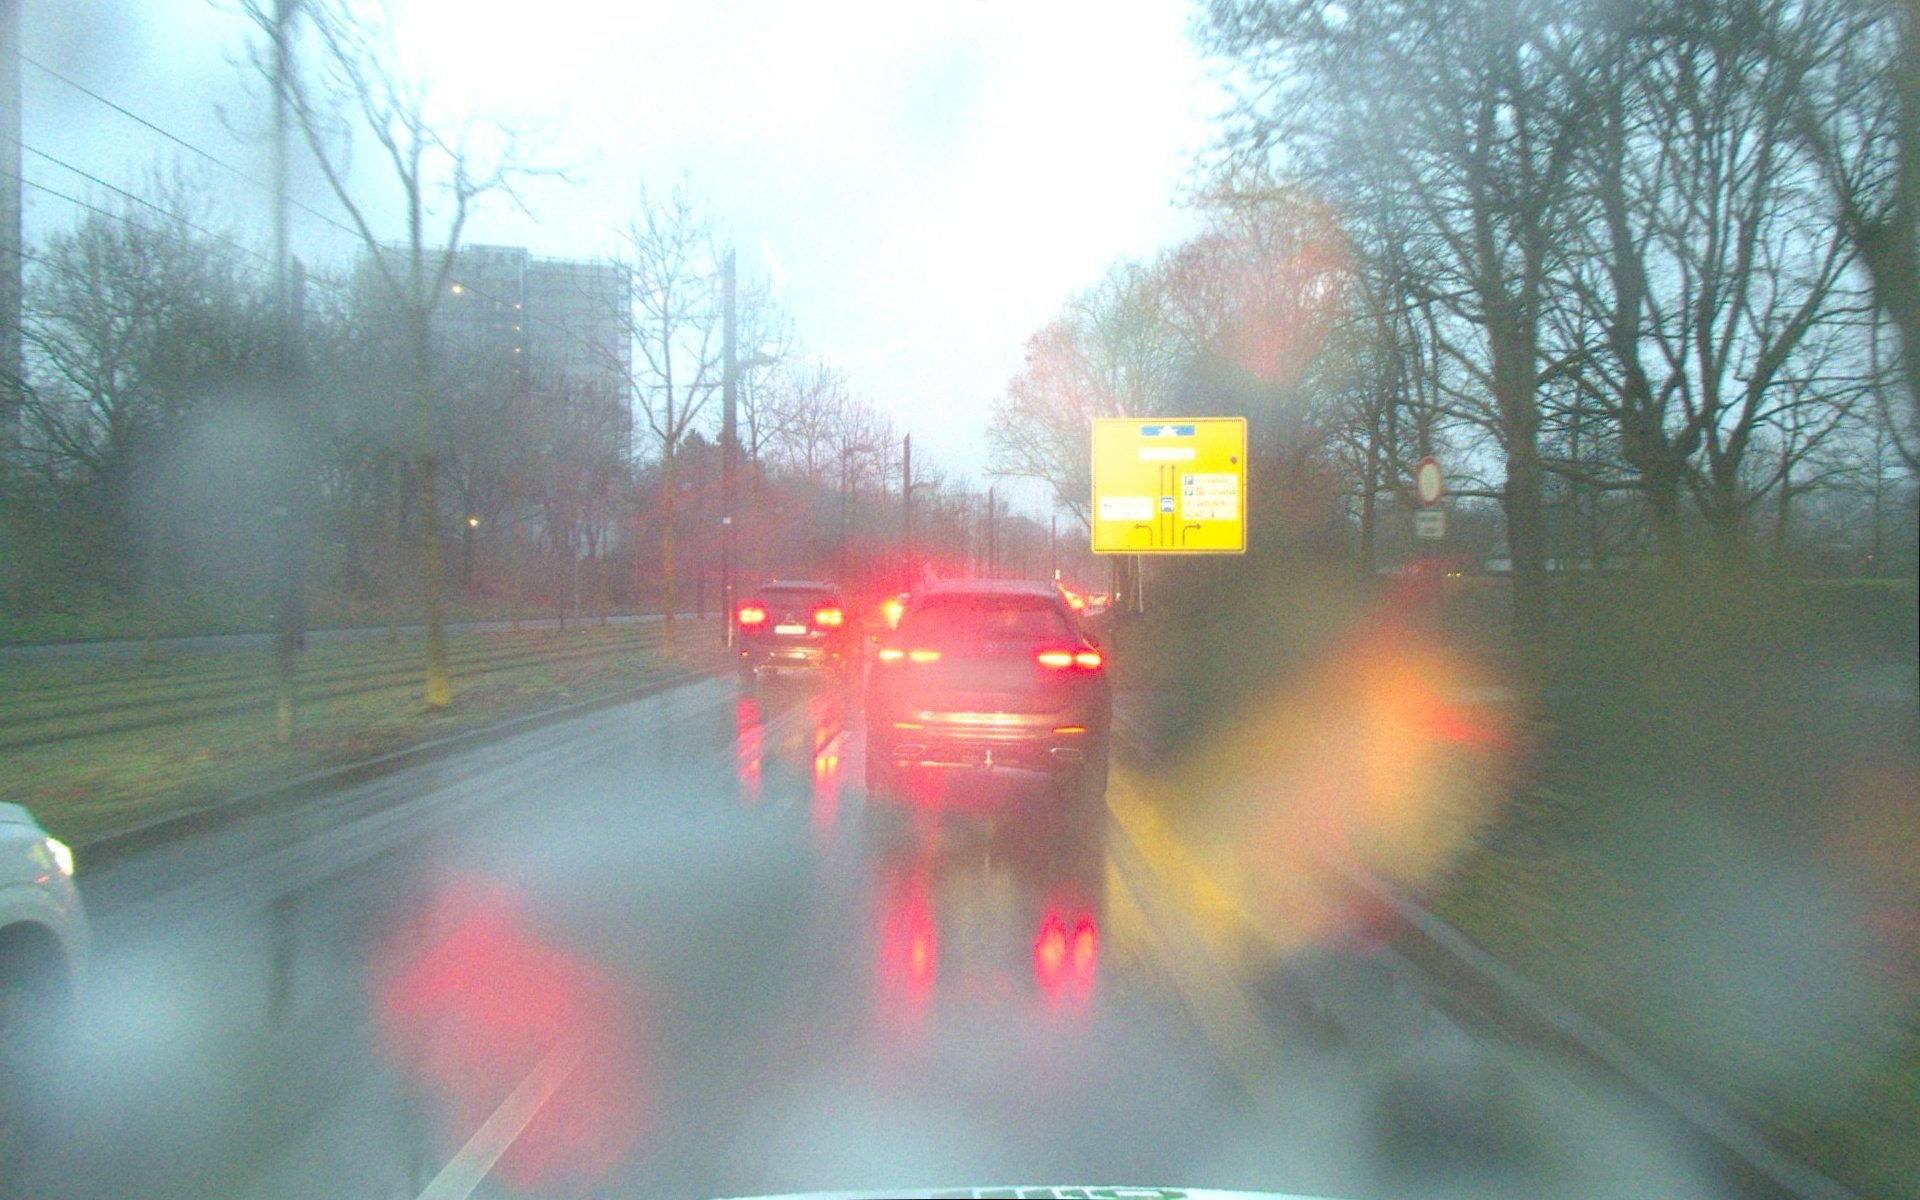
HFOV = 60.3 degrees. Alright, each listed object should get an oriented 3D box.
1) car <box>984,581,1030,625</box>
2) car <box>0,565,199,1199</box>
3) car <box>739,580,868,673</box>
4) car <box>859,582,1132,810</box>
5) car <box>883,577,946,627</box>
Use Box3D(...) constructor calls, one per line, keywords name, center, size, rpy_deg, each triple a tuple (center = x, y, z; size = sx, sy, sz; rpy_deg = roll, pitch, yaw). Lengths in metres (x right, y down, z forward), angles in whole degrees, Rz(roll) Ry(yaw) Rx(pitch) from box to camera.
Box3D(name="car", center=(1.779, 0.102, 62.650), size=(1.673, 1.585, 3.997), rpy_deg=(0, 0, 2))
Box3D(name="car", center=(-3.045, 0.697, 2.750), size=(1.674, 1.551, 4.134), rpy_deg=(0, 0, -1))
Box3D(name="car", center=(-2.630, 0.401, 28.568), size=(1.841, 1.485, 4.000), rpy_deg=(0, 1, 0))
Box3D(name="car", center=(0.195, 0.675, 13.921), size=(1.958, 1.612, 3.999), rpy_deg=(1, 1, -2))
Box3D(name="car", center=(-1.489, 0.053, 55.688), size=(1.841, 1.621, 4.002), rpy_deg=(0, 1, 3))
